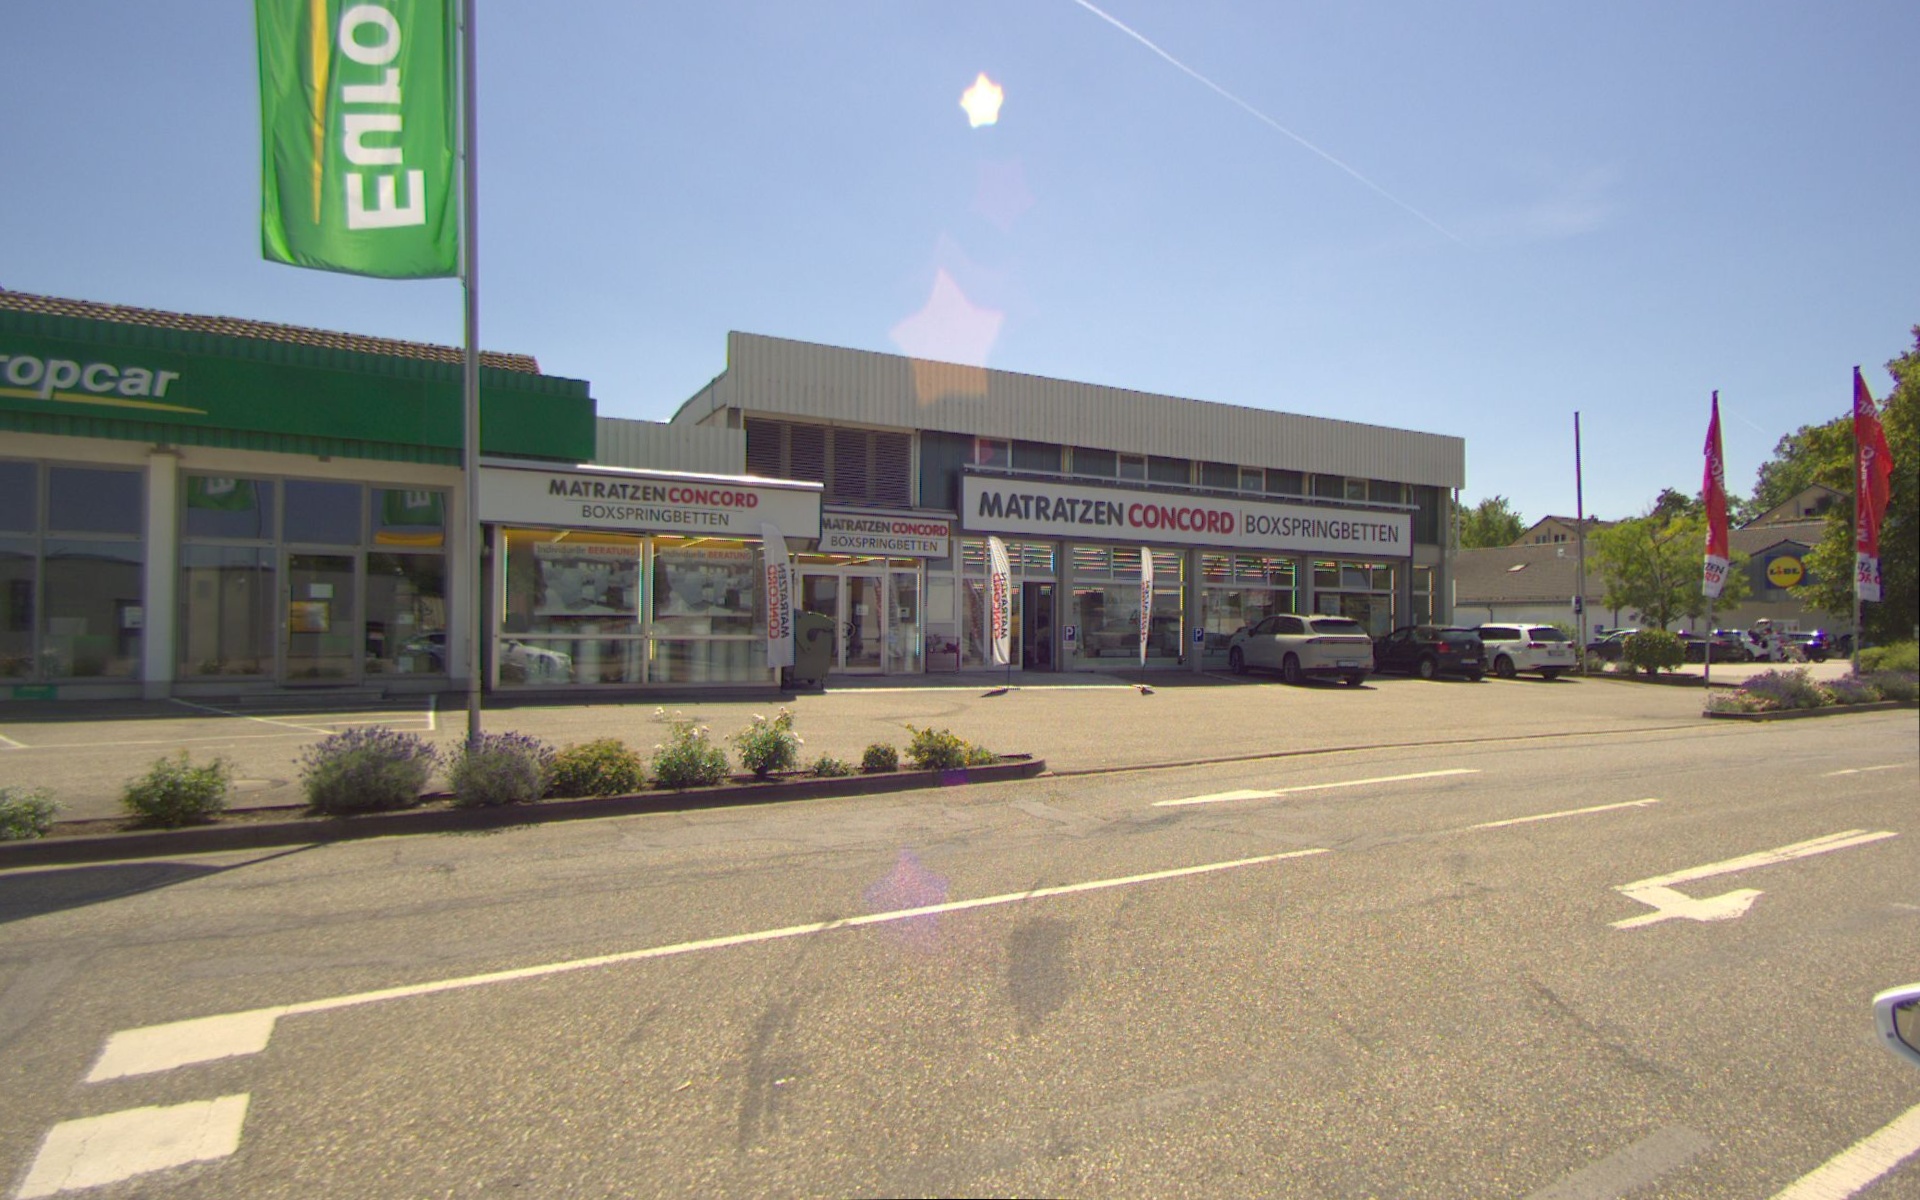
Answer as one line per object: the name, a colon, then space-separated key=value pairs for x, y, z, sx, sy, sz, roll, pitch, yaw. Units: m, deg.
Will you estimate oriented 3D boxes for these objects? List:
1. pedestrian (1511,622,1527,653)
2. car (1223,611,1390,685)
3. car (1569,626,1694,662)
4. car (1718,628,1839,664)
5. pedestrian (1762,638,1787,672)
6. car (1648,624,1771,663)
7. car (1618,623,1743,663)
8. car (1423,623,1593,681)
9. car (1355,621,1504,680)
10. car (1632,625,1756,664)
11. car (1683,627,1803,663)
pedestrian: x=33.702 y=2.229 z=60.585 sx=0.738 sy=1.830 sz=0.772 roll=2 pitch=0 yaw=23
car: x=8.592 y=1.143 z=25.372 sx=1.965 sy=1.686 sz=4.535 roll=1 pitch=-1 yaw=-11
car: x=29.491 y=1.919 z=44.229 sx=1.751 sy=1.387 sz=4.209 roll=2 pitch=-1 yaw=-34
car: x=40.536 y=2.267 z=49.830 sx=1.806 sy=1.550 sz=4.292 roll=2 pitch=-1 yaw=-30
pedestrian: x=37.403 y=2.524 z=46.127 sx=0.877 sy=1.503 sz=0.805 roll=1 pitch=-1 yaw=40
car: x=36.144 y=2.059 z=48.558 sx=2.089 sy=1.677 sz=4.292 roll=2 pitch=-1 yaw=-30
car: x=32.053 y=1.883 z=44.797 sx=1.751 sy=1.610 sz=4.209 roll=2 pitch=-1 yaw=-34
car: x=15.524 y=1.421 z=28.729 sx=1.946 sy=1.466 sz=4.186 roll=1 pitch=-1 yaw=-14
car: x=12.879 y=1.350 z=27.798 sx=1.965 sy=1.494 sz=3.630 roll=1 pitch=-1 yaw=-11
car: x=34.035 y=2.036 z=46.665 sx=1.893 sy=1.627 sz=4.285 roll=2 pitch=-1 yaw=-34
car: x=38.373 y=2.166 z=49.336 sx=1.806 sy=1.550 sz=4.292 roll=2 pitch=-1 yaw=-30
